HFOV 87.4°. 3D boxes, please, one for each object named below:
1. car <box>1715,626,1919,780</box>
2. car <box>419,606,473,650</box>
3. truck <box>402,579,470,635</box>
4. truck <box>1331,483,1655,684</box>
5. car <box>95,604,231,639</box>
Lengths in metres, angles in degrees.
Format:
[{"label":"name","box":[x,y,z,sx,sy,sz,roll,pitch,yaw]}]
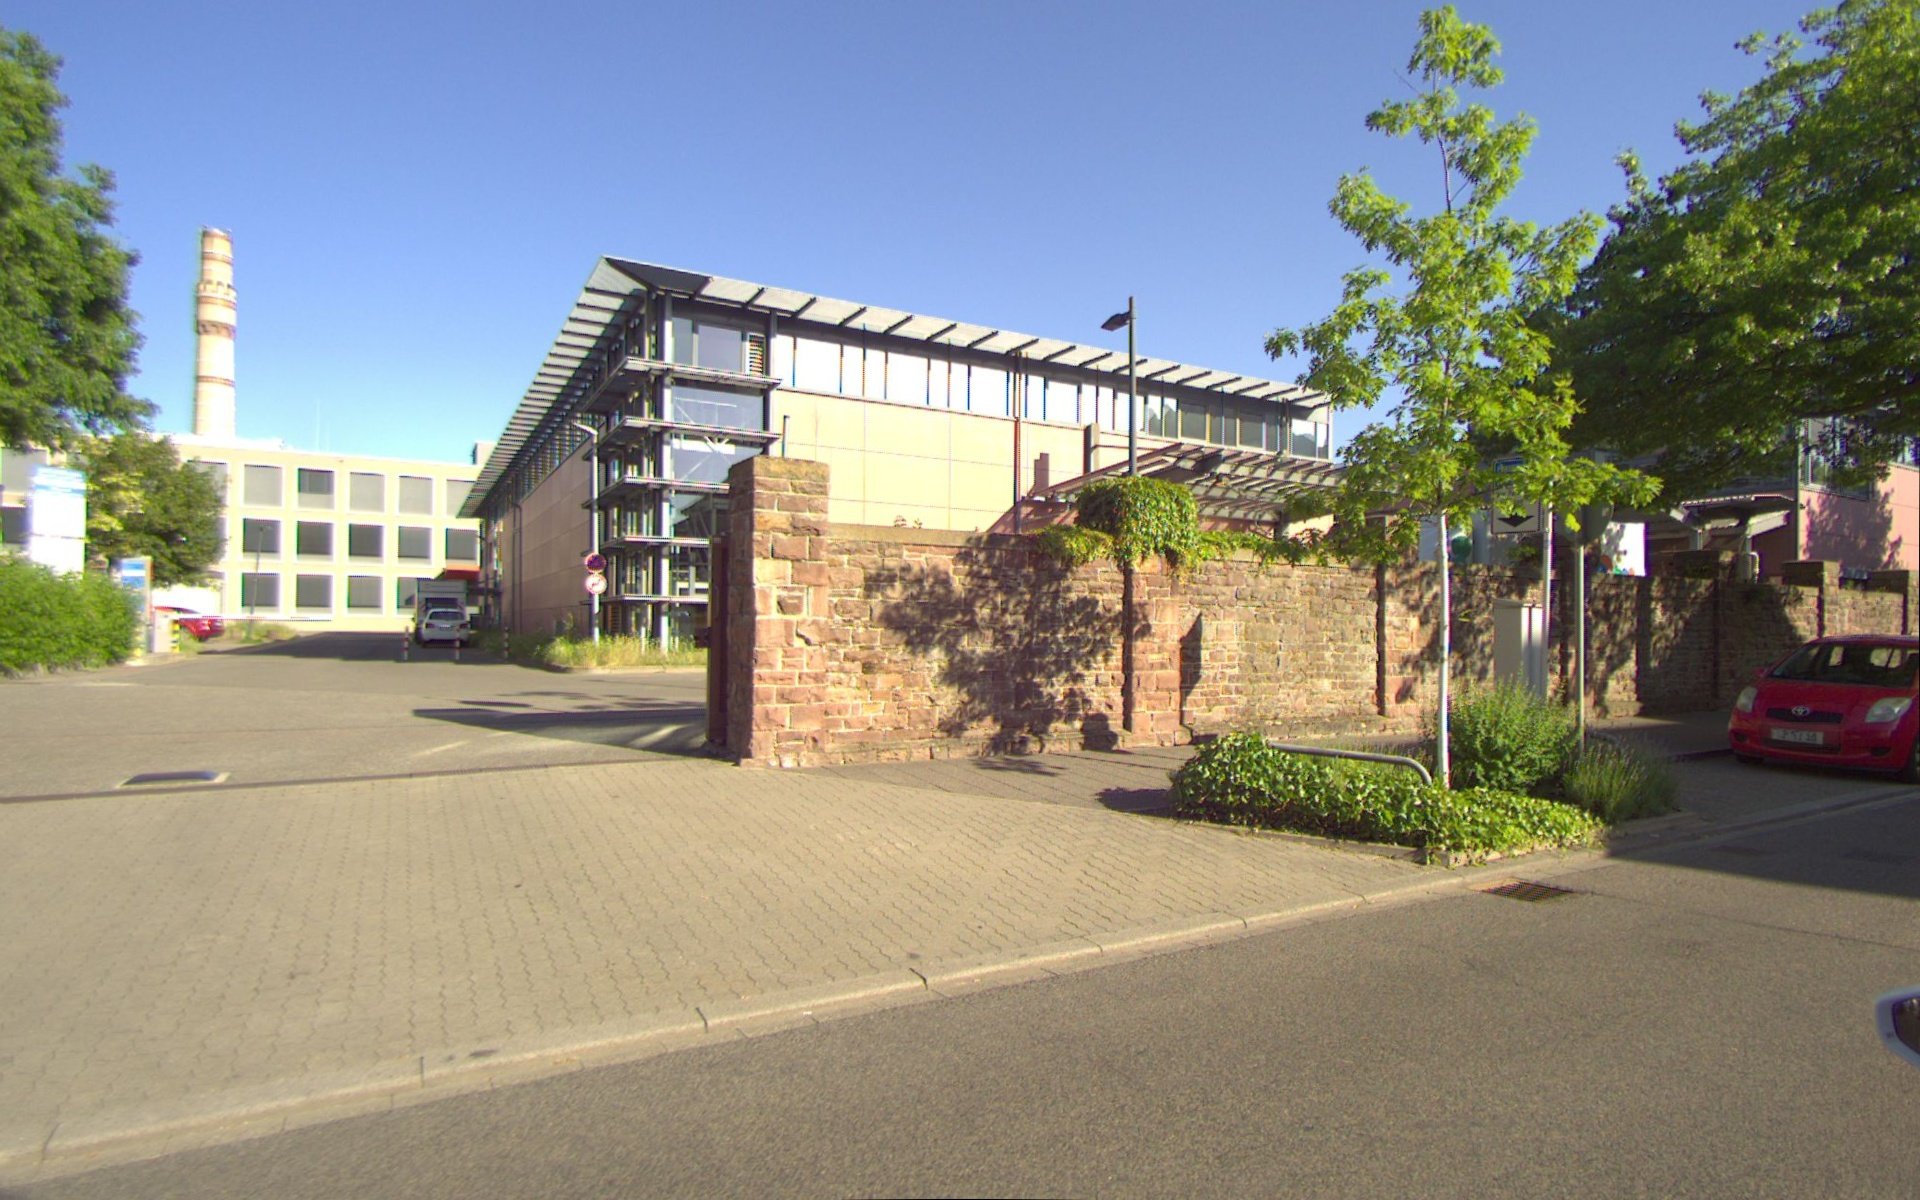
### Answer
[{"label":"car","box":[10.631,1.094,11.703,3.664,1.478,1.601,2,1,-30]},{"label":"car","box":[-21.601,1.152,42.145,1.795,1.688,3.620,1,0,-30]},{"label":"truck","box":[-25.769,0.285,49.287,2.395,2.512,5.850,1,1,-33]},{"label":"truck","box":[11.704,-0.249,21.840,7.342,3.761,2.719,1,1,-31]},{"label":"car","box":[-32.543,0.893,41.163,3.945,1.364,1.988,1,0,-25]}]
